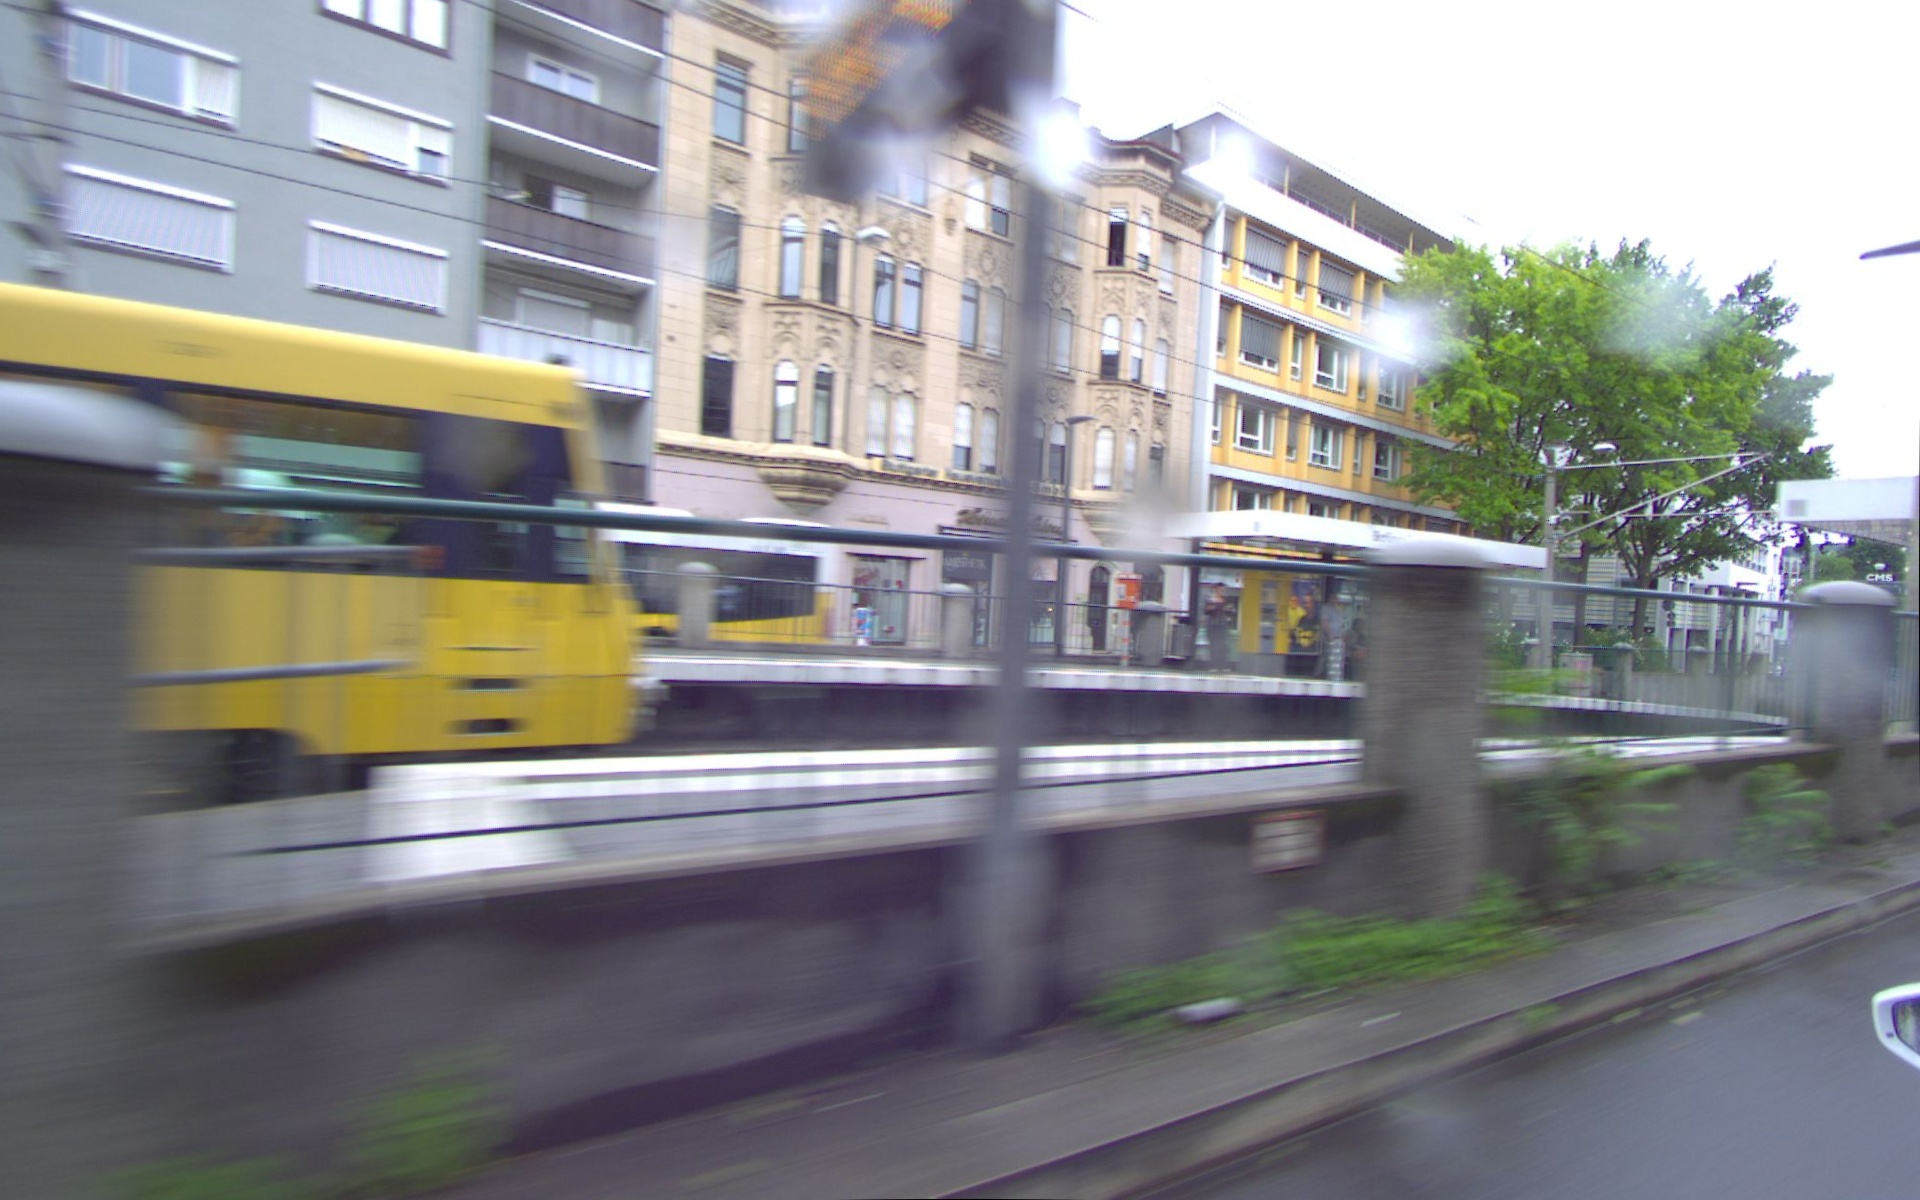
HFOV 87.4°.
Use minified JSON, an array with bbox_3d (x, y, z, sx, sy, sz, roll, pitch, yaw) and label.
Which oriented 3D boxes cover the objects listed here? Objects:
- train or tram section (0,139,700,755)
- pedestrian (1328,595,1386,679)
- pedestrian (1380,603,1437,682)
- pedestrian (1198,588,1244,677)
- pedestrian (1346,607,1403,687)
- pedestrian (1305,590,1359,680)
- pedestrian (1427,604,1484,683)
[{"bbox_3d":[-6.988,-0.982,7.072,9.596,3.742,2.766,0,3,-29],"label":"train or tram section"},{"bbox_3d":[8.133,0.786,20.593,0.768,1.670,0.769,2,-5,-28],"label":"pedestrian"},{"bbox_3d":[9.699,0.946,21.751,0.768,1.670,0.769,2,-5,-28],"label":"pedestrian"},{"bbox_3d":[4.674,0.575,18.026,0.511,1.558,0.554,1,1,-31],"label":"pedestrian"},{"bbox_3d":[8.792,1.014,21.314,0.768,1.670,0.769,2,-5,-28],"label":"pedestrian"},{"bbox_3d":[7.195,0.674,19.439,0.674,1.682,0.630,2,1,-28],"label":"pedestrian"},{"bbox_3d":[10.752,0.969,21.796,0.884,1.670,0.675,2,-5,-28],"label":"pedestrian"}]
